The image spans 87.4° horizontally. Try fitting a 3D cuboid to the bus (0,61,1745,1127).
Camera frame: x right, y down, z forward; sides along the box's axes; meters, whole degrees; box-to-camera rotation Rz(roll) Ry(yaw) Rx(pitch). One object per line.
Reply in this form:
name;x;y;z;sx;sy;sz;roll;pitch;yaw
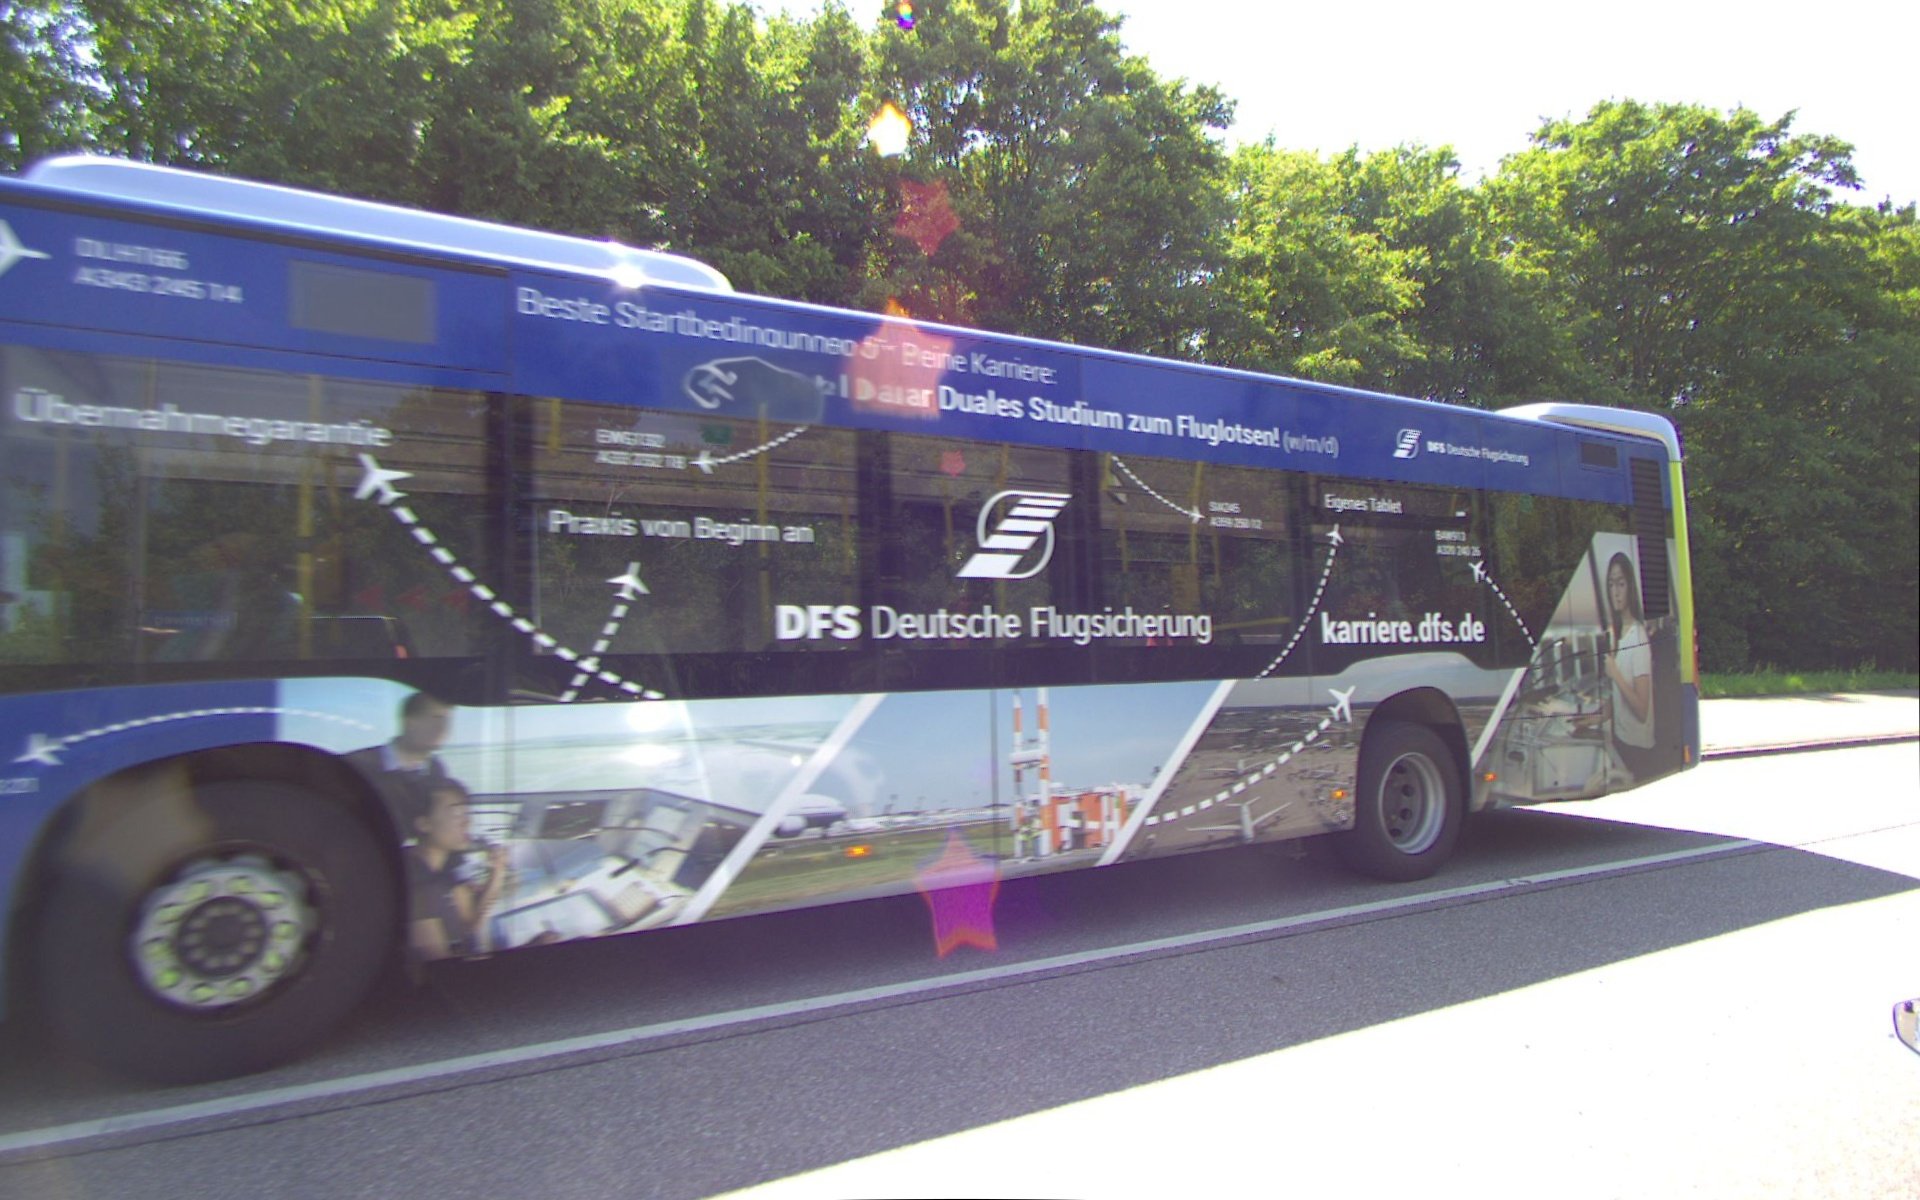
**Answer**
bus;-0.016;0.126;5.950;11.789;3.084;2.740;1;-5;-28
